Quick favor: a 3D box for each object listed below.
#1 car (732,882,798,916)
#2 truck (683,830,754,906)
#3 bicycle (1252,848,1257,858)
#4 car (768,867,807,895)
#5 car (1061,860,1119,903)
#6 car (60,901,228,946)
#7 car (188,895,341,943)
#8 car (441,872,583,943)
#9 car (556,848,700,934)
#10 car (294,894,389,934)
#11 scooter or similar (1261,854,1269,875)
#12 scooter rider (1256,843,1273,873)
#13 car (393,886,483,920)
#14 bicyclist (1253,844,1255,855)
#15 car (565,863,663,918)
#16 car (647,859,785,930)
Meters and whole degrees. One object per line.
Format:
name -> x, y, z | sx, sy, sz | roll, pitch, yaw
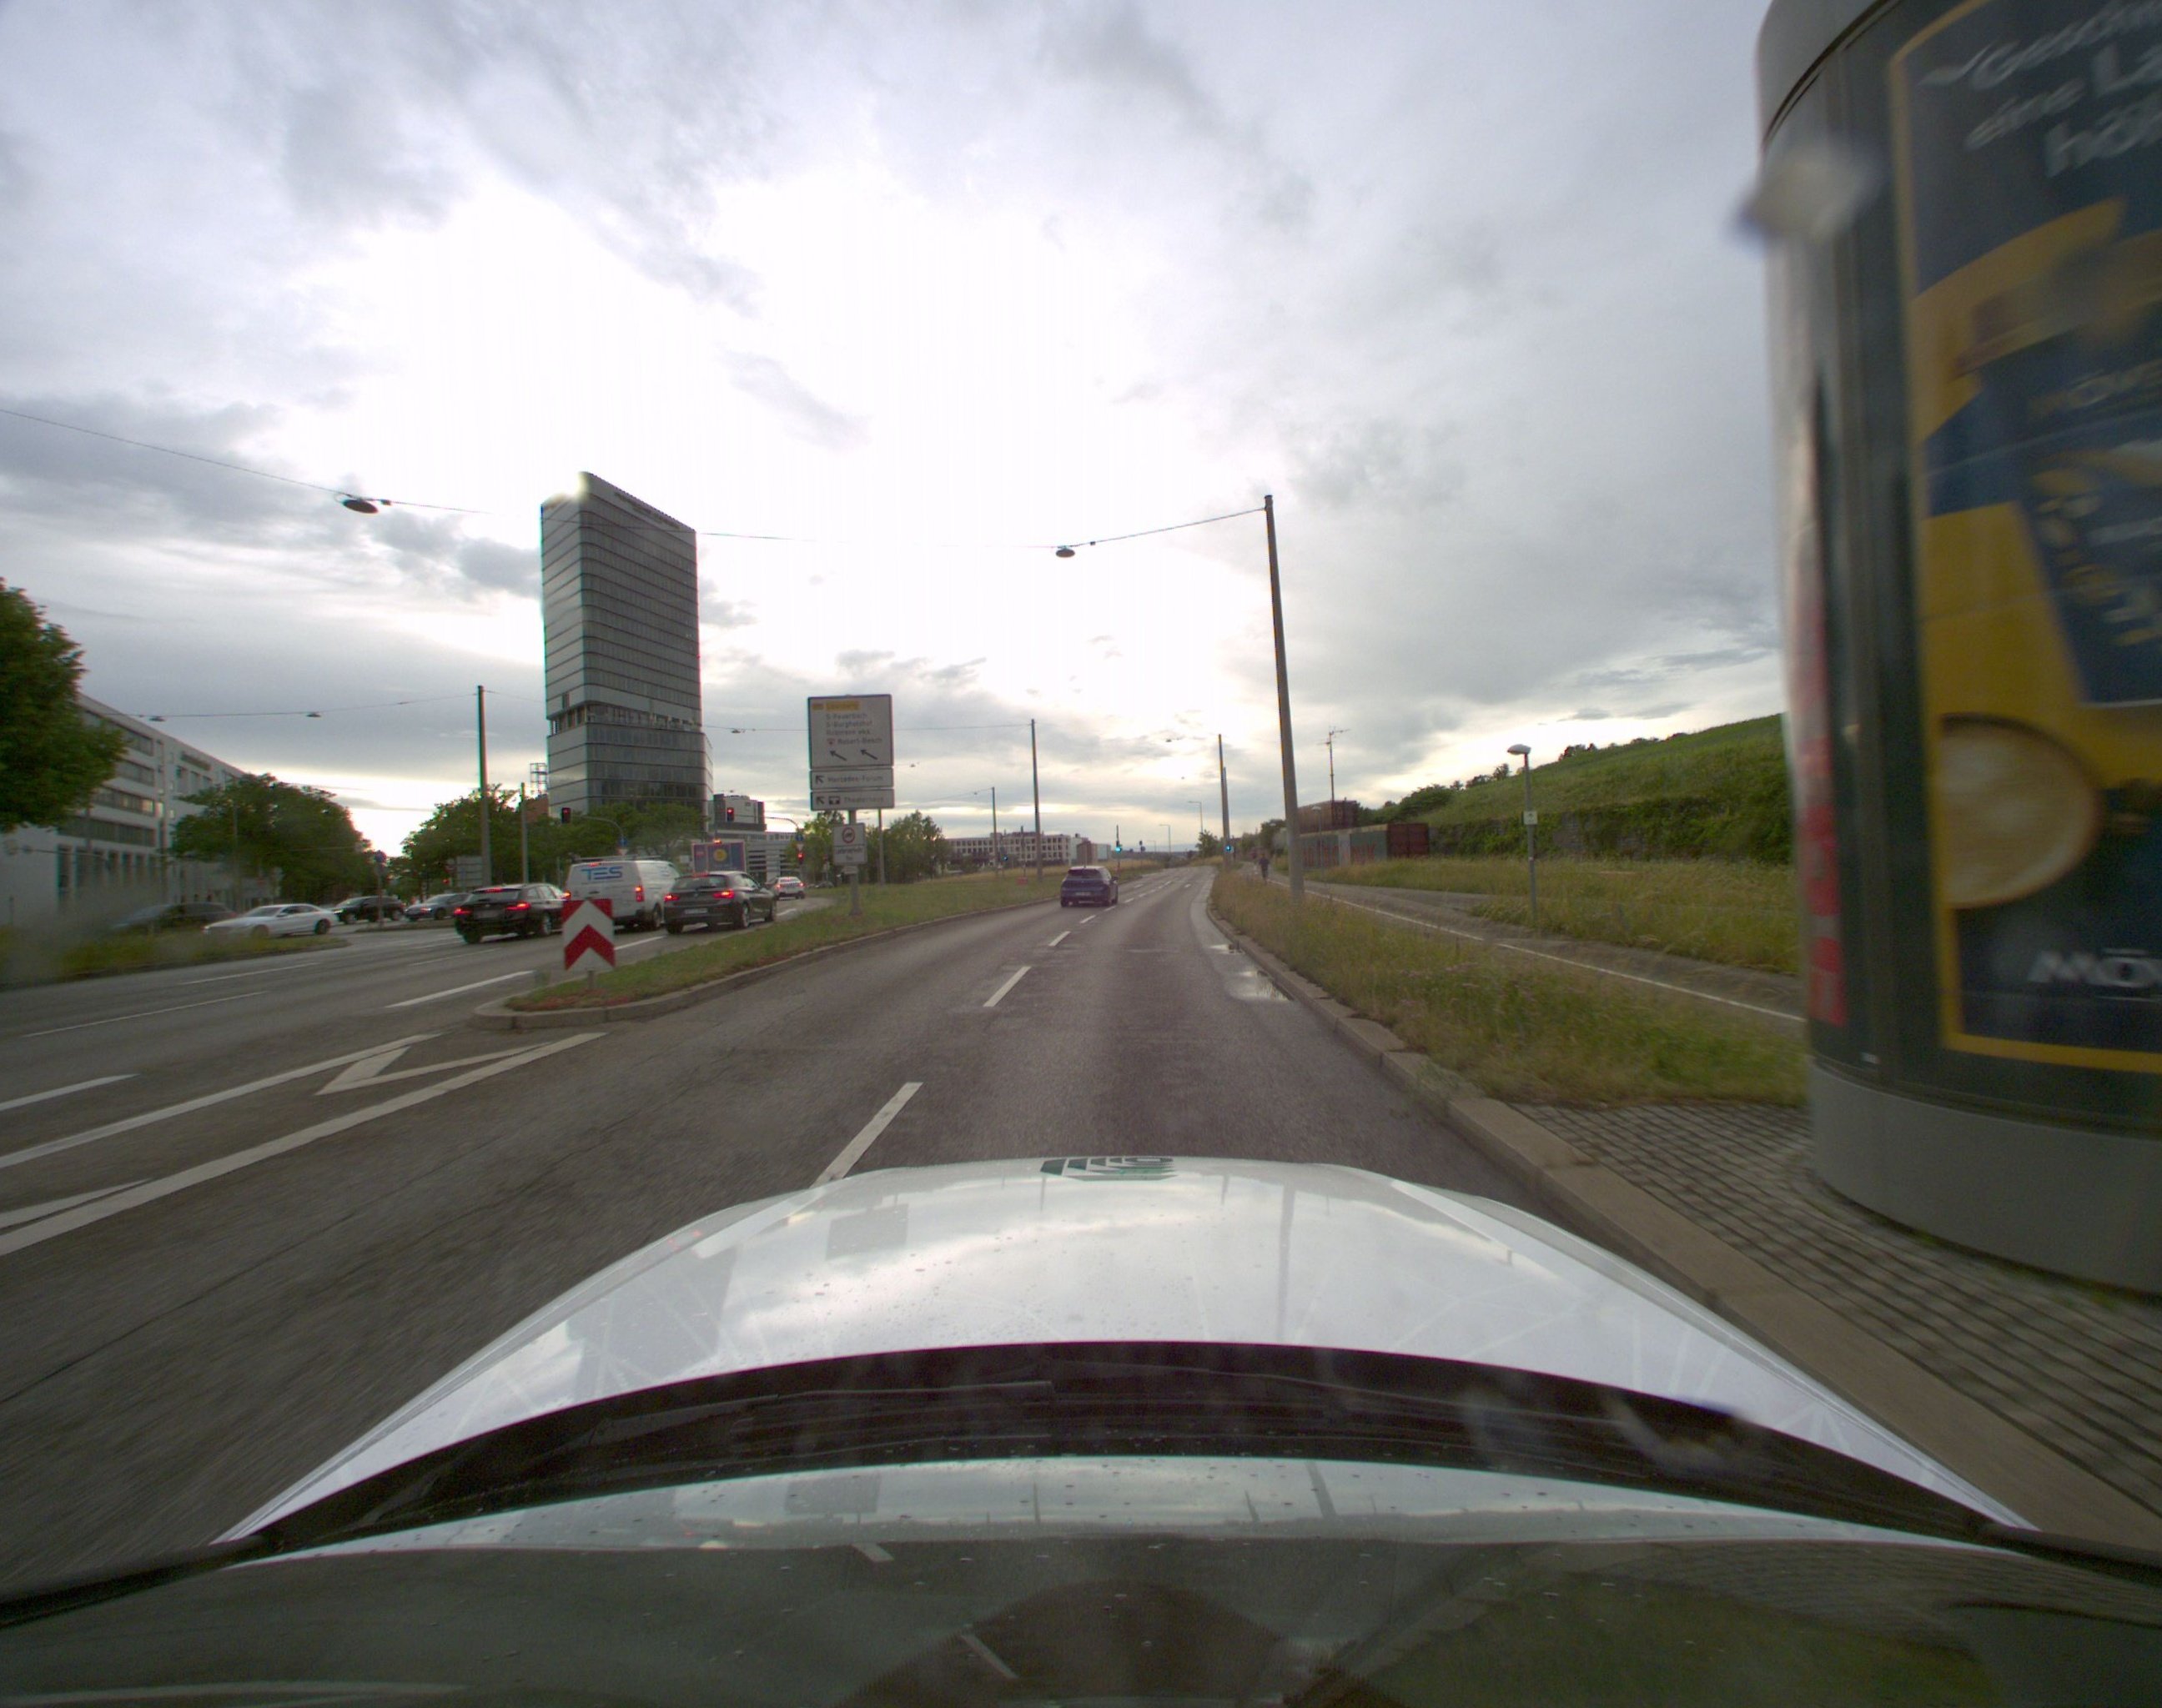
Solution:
car -> -21.613, 3.058, 55.742 | 4.008, 2.013, 1.873 | -1, 3, -27
truck -> -16.971, 0.595, 38.443 | 2.677, 3.220, 6.501 | -1, 0, -21
bicycle -> 19.272, -0.140, 90.582 | 0.547, 1.068, 0.617 | -1, 0, 11
car -> -18.939, 1.748, 52.436 | 1.929, 1.643, 4.353 | -2, -2, -26
car -> 0.402, 1.021, 30.294 | 1.829, 1.394, 4.004 | -3, -2, 4
car -> -40.161, 2.936, 35.105 | 1.924, 1.484, 4.577 | -2, 0, -1
car -> -35.220, 2.761, 35.329 | 1.886, 1.658, 4.606 | -2, 0, 1
car -> -15.065, 1.341, 21.850 | 1.909, 1.563, 3.976 | -4, 0, -17
car -> -12.189, 0.918, 22.347 | 1.905, 1.973, 5.072 | -3, 0, -11
car -> -41.629, 3.362, 45.953 | 1.757, 1.837, 3.758 | -2, 1, 2
scooter or similar -> 10.453, 0.579, 46.292 | 0.399, 1.196, 1.117 | 0, 0, 9
scooter rider -> 10.489, 0.236, 46.481 | 0.801, 1.628, 0.830 | -3, -1, 8
car -> -37.485, 2.834, 47.627 | 1.818, 1.657, 3.921 | -2, 0, 7
bicyclist -> 19.246, -0.538, 90.560 | 0.263, 1.196, 0.316 | -1, 0, 11
car -> -16.262, 1.207, 28.591 | 1.840, 1.681, 4.054 | 1, 1, -13
car -> -8.971, 0.933, 20.429 | 1.866, 1.461, 3.970 | -2, 1, -5
